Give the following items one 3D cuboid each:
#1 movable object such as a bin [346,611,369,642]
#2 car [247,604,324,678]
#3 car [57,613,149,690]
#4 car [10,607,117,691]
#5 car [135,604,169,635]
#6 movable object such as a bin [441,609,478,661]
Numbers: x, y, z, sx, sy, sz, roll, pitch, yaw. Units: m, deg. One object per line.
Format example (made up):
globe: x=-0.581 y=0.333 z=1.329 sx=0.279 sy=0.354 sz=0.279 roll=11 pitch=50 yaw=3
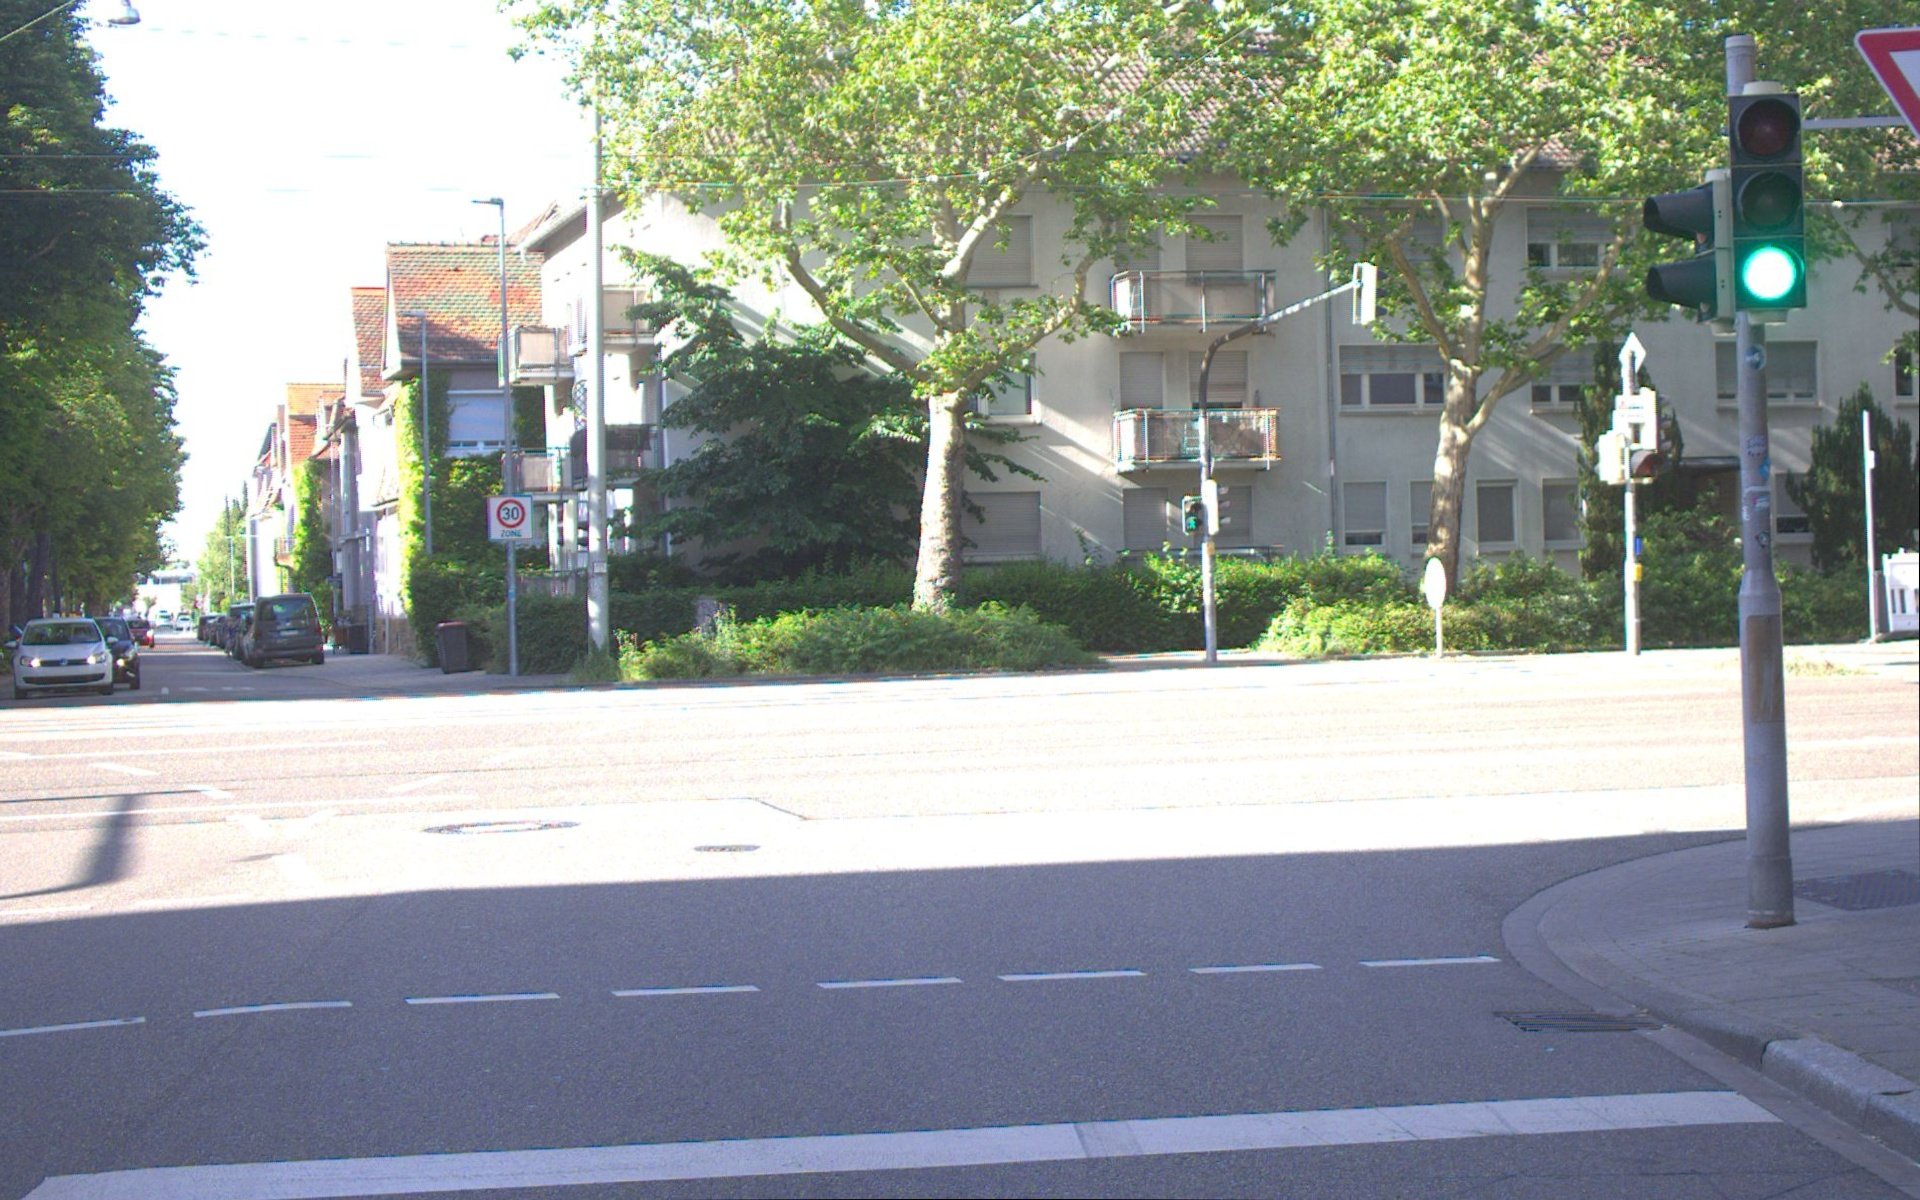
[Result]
movable object such as a bin: x=-20.348 y=0.895 z=116.127 sx=0.647 sy=1.036 sz=0.828 roll=-2 pitch=0 yaw=-15
car: x=-18.700 y=1.099 z=95.181 sx=1.864 sy=1.909 sz=4.783 roll=3 pitch=-1 yaw=-13
car: x=-17.265 y=1.027 z=69.381 sx=1.660 sy=1.459 sz=3.809 roll=-2 pitch=0 yaw=-12
car: x=-16.558 y=0.917 z=63.623 sx=1.806 sy=1.453 sz=4.001 roll=-2 pitch=-1 yaw=-14
car: x=-41.729 y=1.000 z=177.457 sx=1.640 sy=1.503 sz=3.703 roll=-3 pitch=0 yaw=-14
movable object such as a bin: x=-10.591 y=0.739 z=72.767 sx=0.597 sy=1.041 sz=0.707 roll=-5 pitch=1 yaw=-15
